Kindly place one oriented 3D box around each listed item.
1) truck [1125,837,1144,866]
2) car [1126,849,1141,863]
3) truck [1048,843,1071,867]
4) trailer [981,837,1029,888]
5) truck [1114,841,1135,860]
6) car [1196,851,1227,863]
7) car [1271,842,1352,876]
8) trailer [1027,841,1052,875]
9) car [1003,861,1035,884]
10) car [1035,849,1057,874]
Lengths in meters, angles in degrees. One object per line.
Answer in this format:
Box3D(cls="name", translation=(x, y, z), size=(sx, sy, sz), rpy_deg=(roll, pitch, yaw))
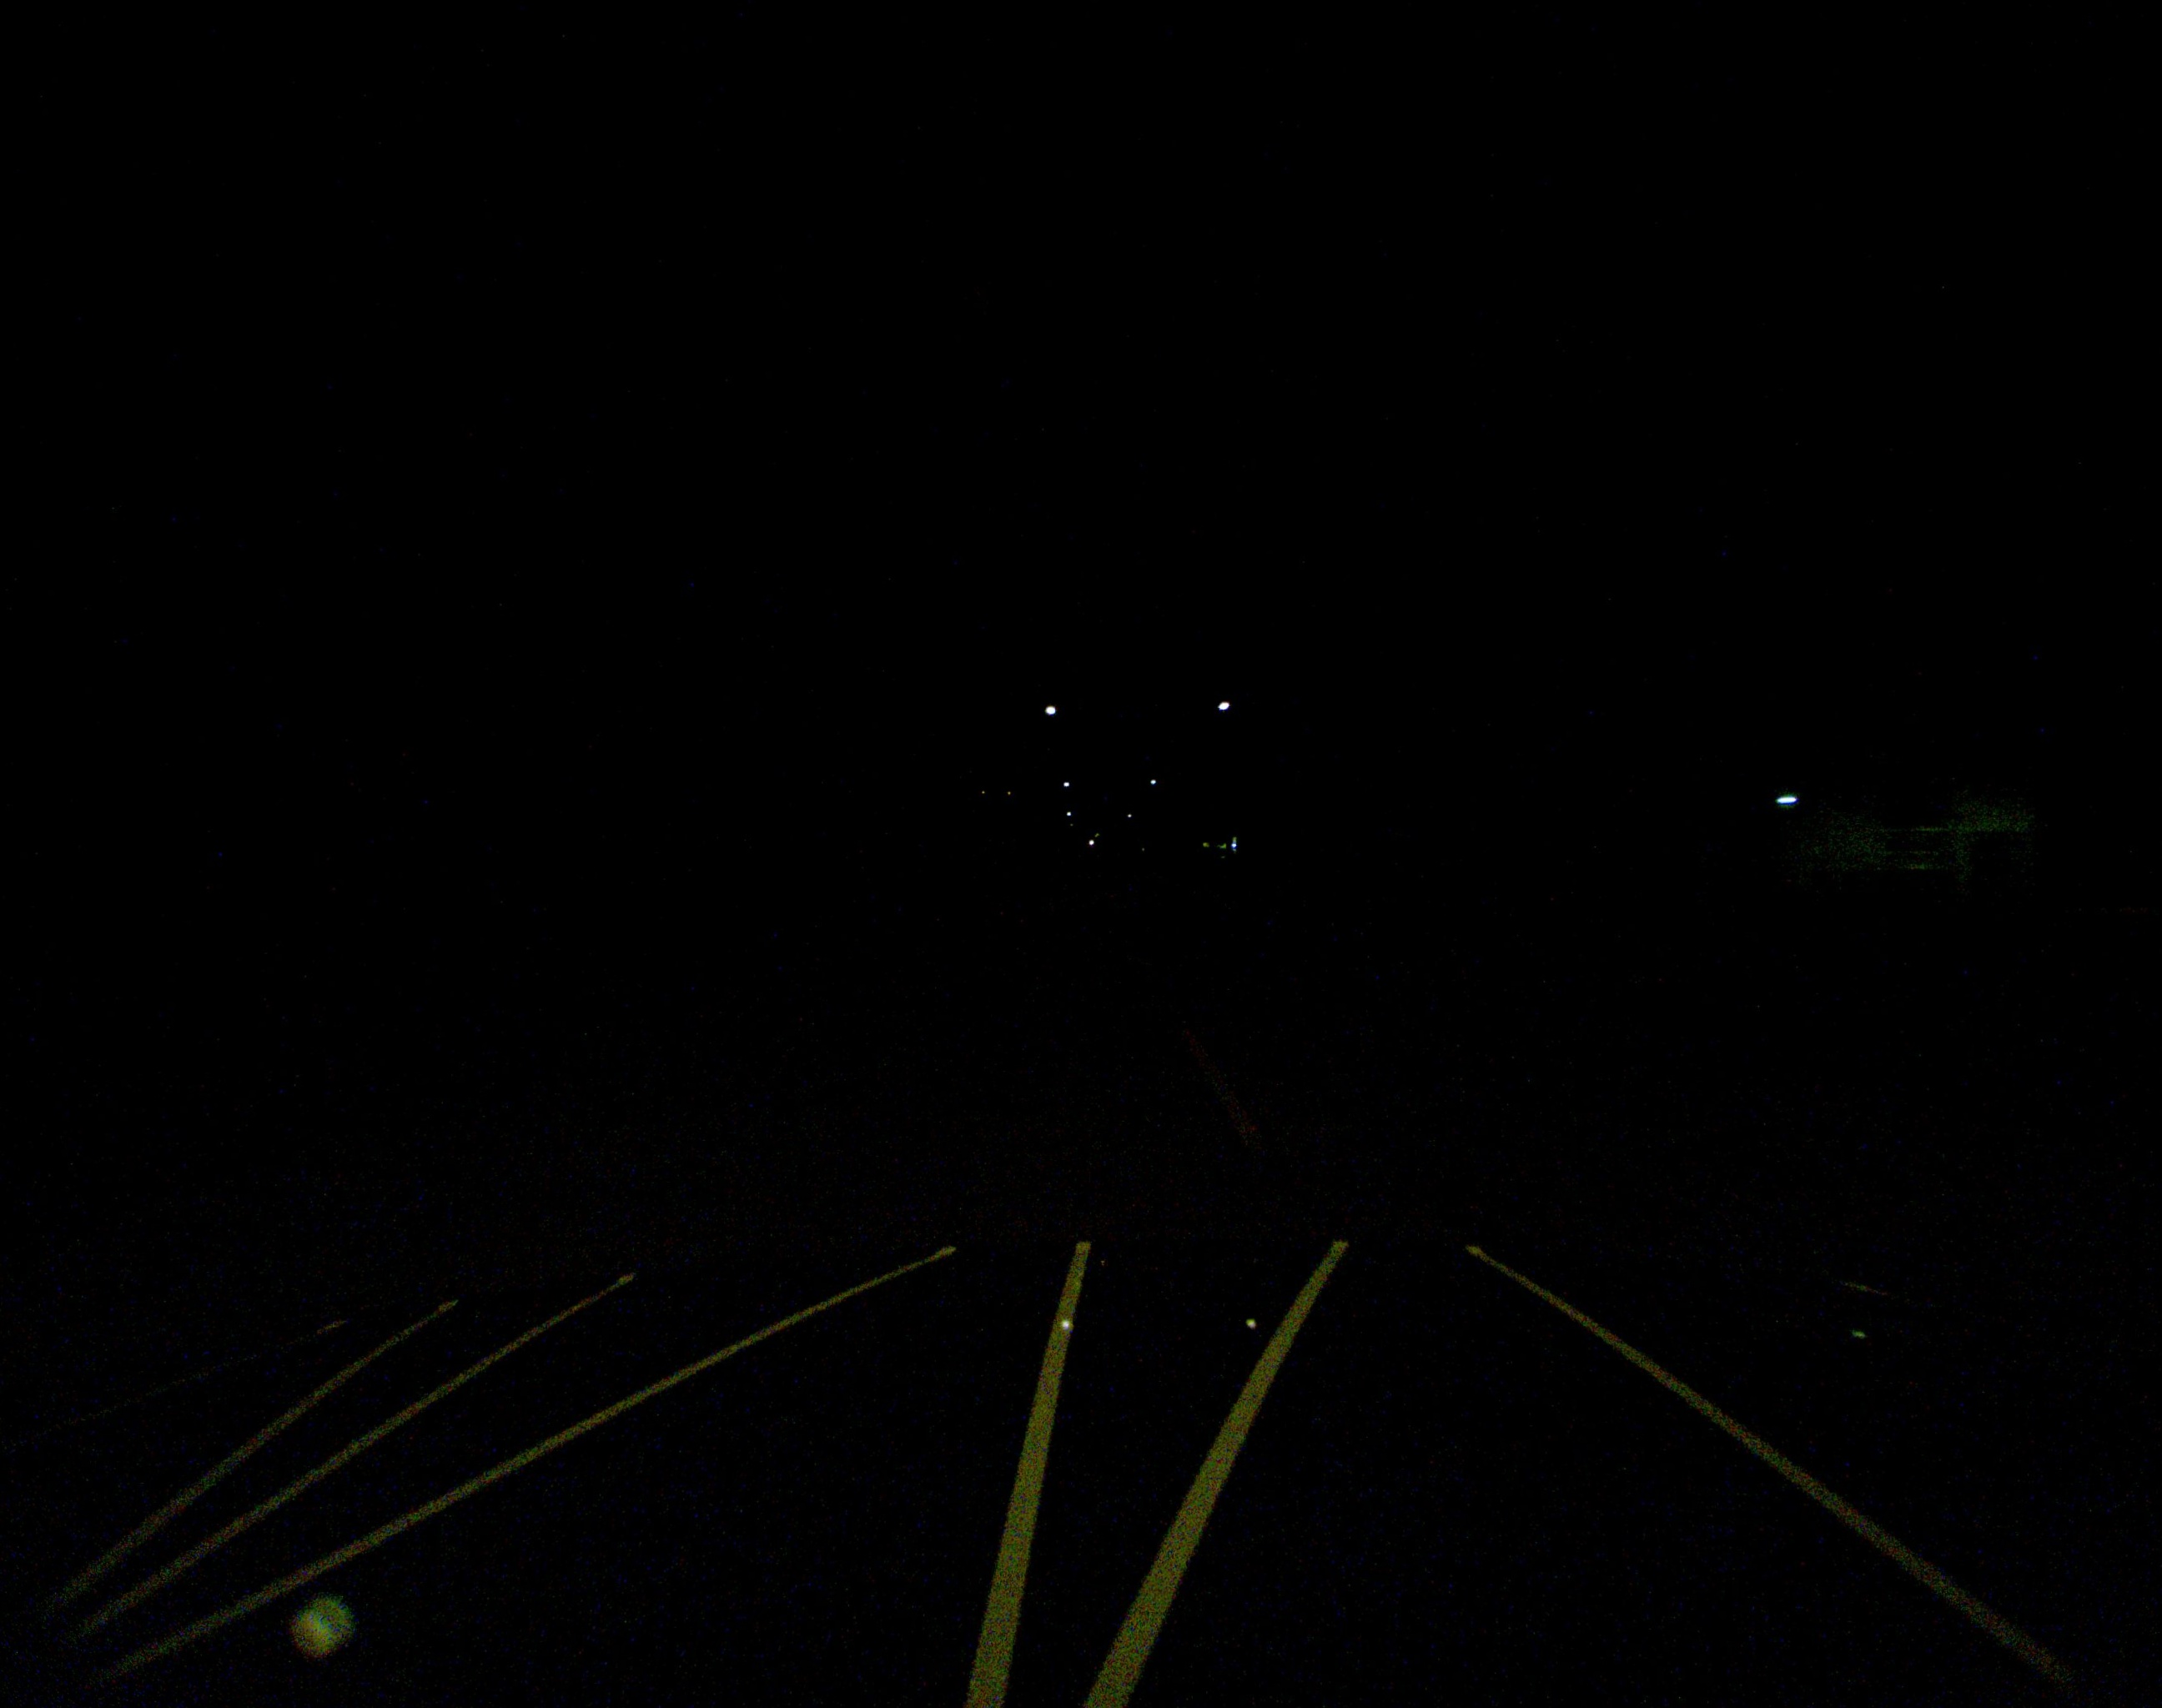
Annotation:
Box3D(cls="truck", translation=(8.516, -0.430, 121.275), size=(2.644, 4.290, 12.824), rpy_deg=(1, 1, 3))
Box3D(cls="car", translation=(8.998, 0.316, 130.509), size=(2.145, 2.299, 4.468), rpy_deg=(-1, 0, 1))
Box3D(cls="truck", translation=(-3.536, 0.206, 129.418), size=(2.515, 3.814, 12.663), rpy_deg=(-1, 0, 5))
Box3D(cls="trailer", translation=(-4.142, 0.449, 42.155), size=(1.998, 2.635, 4.001), rpy_deg=(-1, 0, 3))
Box3D(cls="truck", translation=(8.457, -0.600, 149.385), size=(2.829, 3.610, 10.398), rpy_deg=(-1, 0, -4))
Box3D(cls="car", translation=(18.525, 0.440, 108.035), size=(3.998, 1.455, 1.806), rpy_deg=(-4, 0, -3))
Box3D(cls="car", translation=(14.416, 0.307, 47.777), size=(4.443, 1.960, 2.000), rpy_deg=(-2, 0, 0))
Box3D(cls="trailer", translation=(-4.174, 0.450, 77.298), size=(2.404, 3.306, 4.361), rpy_deg=(-1, 0, -3))
Box3D(cls="car", translation=(-3.940, 1.167, 48.933), size=(1.731, 1.378, 4.676), rpy_deg=(-1, 0, -2))
Box3D(cls="car", translation=(-3.784, 0.815, 83.623), size=(1.945, 2.533, 6.646), rpy_deg=(-1, 0, 0))
